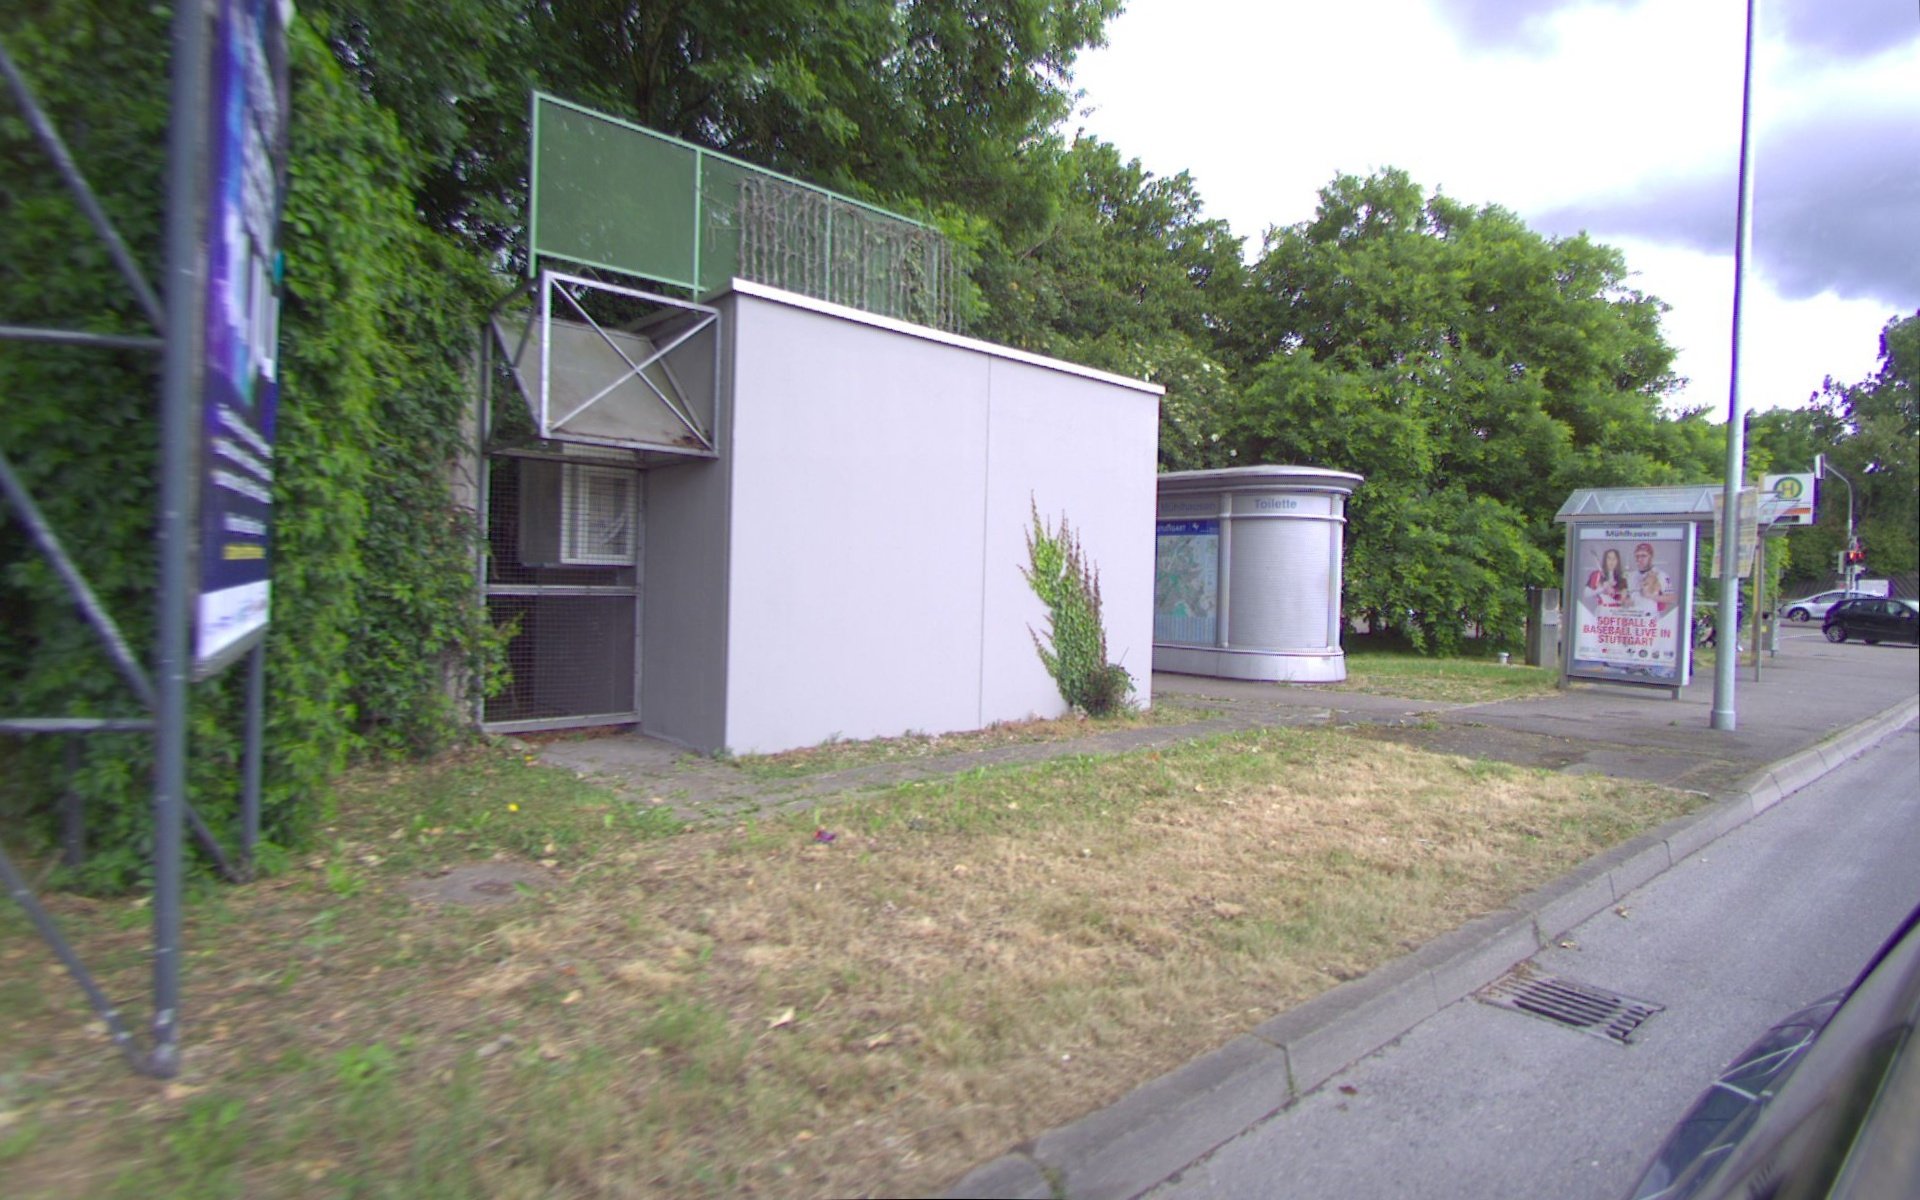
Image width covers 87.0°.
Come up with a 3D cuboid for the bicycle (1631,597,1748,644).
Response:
[{"bbox_3d":[16.058,0.439,22.336,0.579,0.951,2.048,1,1,-26],"label":"bicycle"}]

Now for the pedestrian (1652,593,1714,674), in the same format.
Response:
[{"bbox_3d":[11.001,0.494,15.397,0.537,1.172,0.602,0,3,-41],"label":"pedestrian"}]

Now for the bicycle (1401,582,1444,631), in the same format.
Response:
[{"bbox_3d":[13.698,0.183,29.973,0.644,1.389,1.631,1,1,44],"label":"bicycle"}]

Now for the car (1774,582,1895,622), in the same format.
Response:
[{"bbox_3d":[40.114,0.048,46.471,4.111,1.661,1.723,3,2,44],"label":"car"}]

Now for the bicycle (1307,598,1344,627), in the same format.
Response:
[{"bbox_3d":[11.416,0.370,31.583,0.476,0.867,1.631,1,1,44],"label":"bicycle"}]

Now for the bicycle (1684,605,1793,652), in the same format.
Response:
[{"bbox_3d":[17.520,0.630,22.816,0.535,0.936,1.871,0,2,-39],"label":"bicycle"}]

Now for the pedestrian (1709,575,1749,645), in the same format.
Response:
[{"bbox_3d":[19.642,0.256,25.855,0.678,1.775,0.419,0,1,9],"label":"pedestrian"}]

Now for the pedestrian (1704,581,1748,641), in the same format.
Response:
[{"bbox_3d":[20.378,0.284,26.921,0.659,1.532,0.755,0,3,-41],"label":"pedestrian"}]

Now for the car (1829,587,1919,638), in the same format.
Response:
[{"bbox_3d":[30.827,0.416,32.500,1.685,1.550,4.196,1,2,-14],"label":"car"}]

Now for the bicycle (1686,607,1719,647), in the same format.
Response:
[{"bbox_3d":[18.242,0.647,24.853,0.522,0.917,1.825,4,1,39],"label":"bicycle"}]
